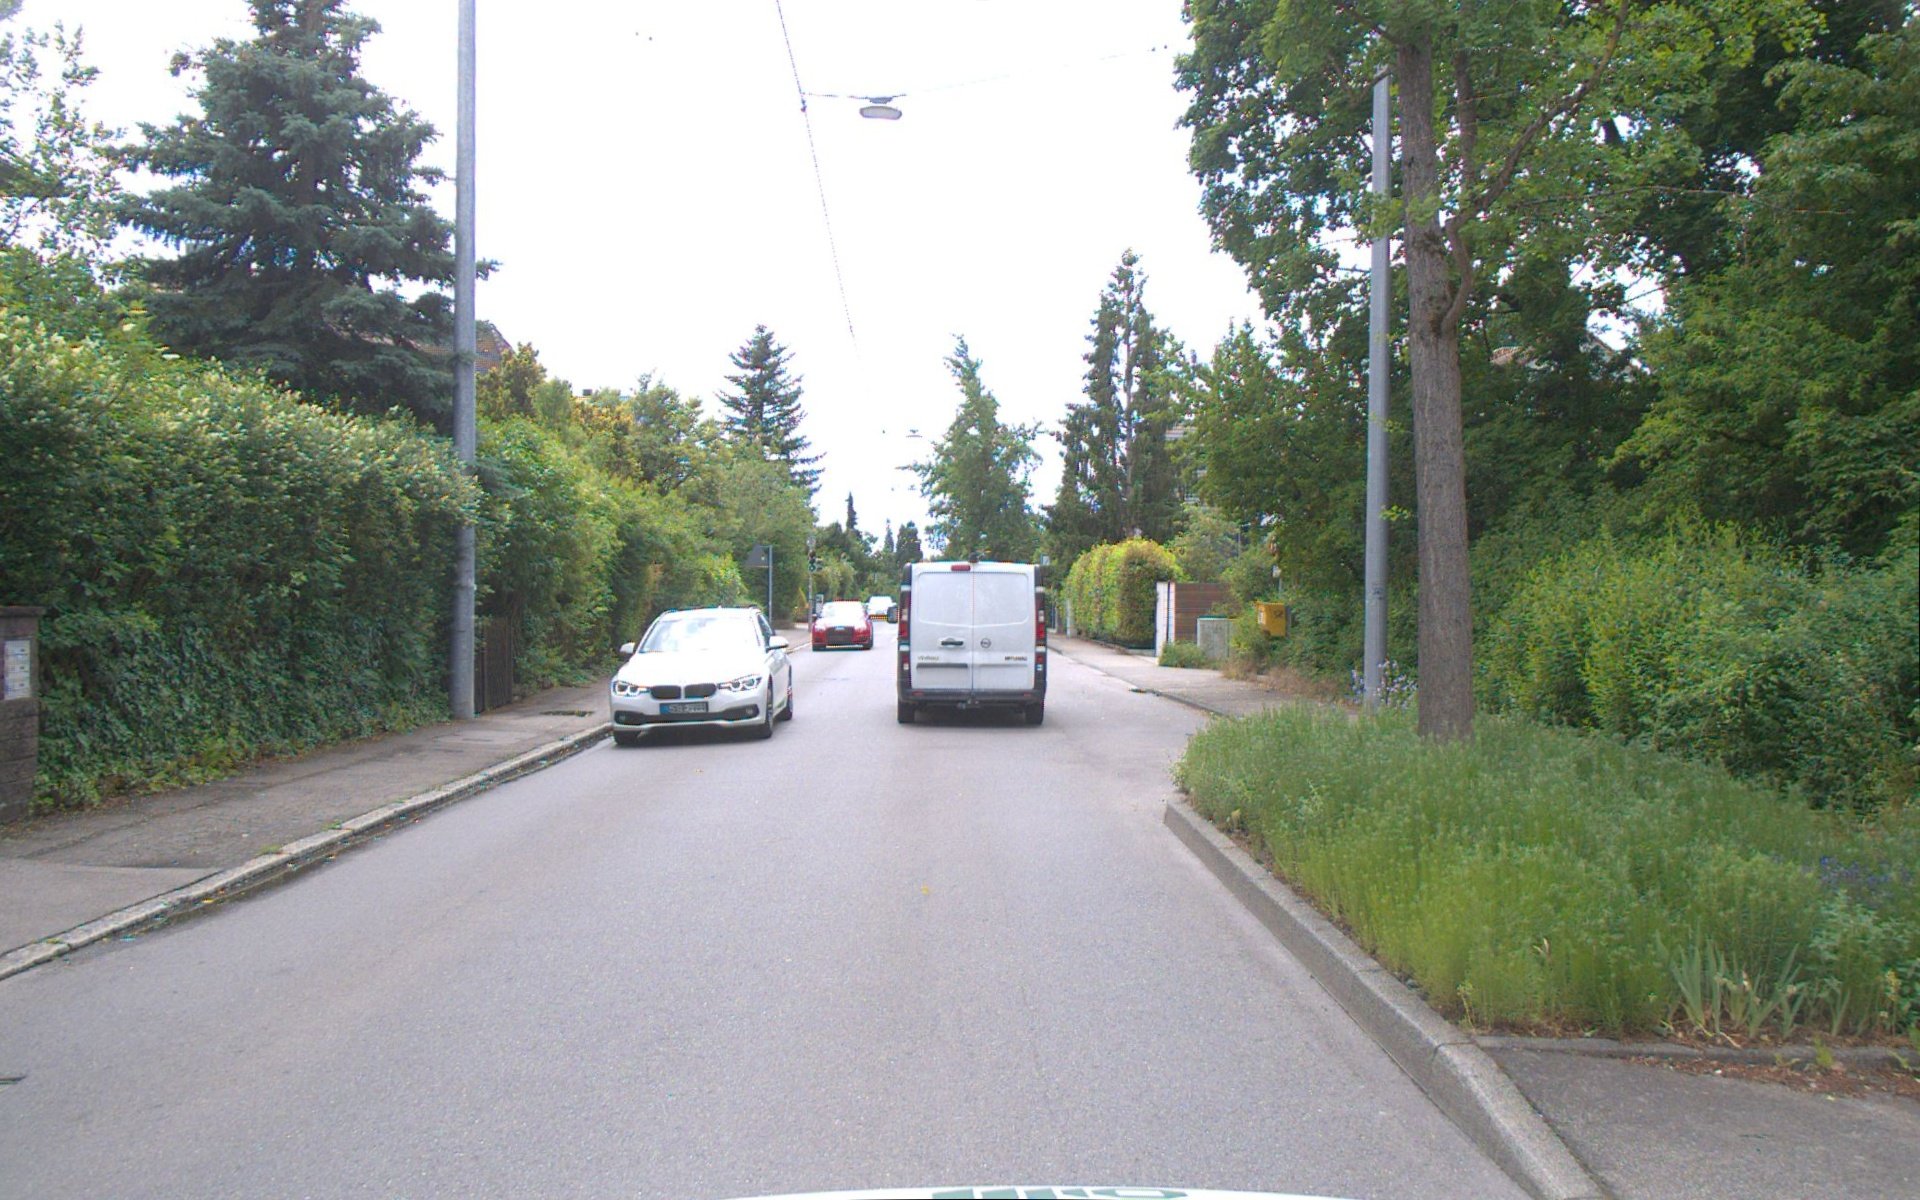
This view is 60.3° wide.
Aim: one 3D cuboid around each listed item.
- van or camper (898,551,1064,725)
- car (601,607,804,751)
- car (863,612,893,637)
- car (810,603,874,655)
[{"bbox_3d":[0.166,0.508,21.736,1.900,1.988,4.762,1,-2,-2],"label":"van or camper"},{"bbox_3d":[-2.940,0.852,19.742,1.769,1.456,4.299,-2,0,-1],"label":"car"},{"bbox_3d":[-5.174,1.526,104.417,1.817,1.476,4.279,-1,0,-3],"label":"car"},{"bbox_3d":[-3.581,0.863,50.799,1.769,1.456,4.116,-2,0,-3],"label":"car"}]
